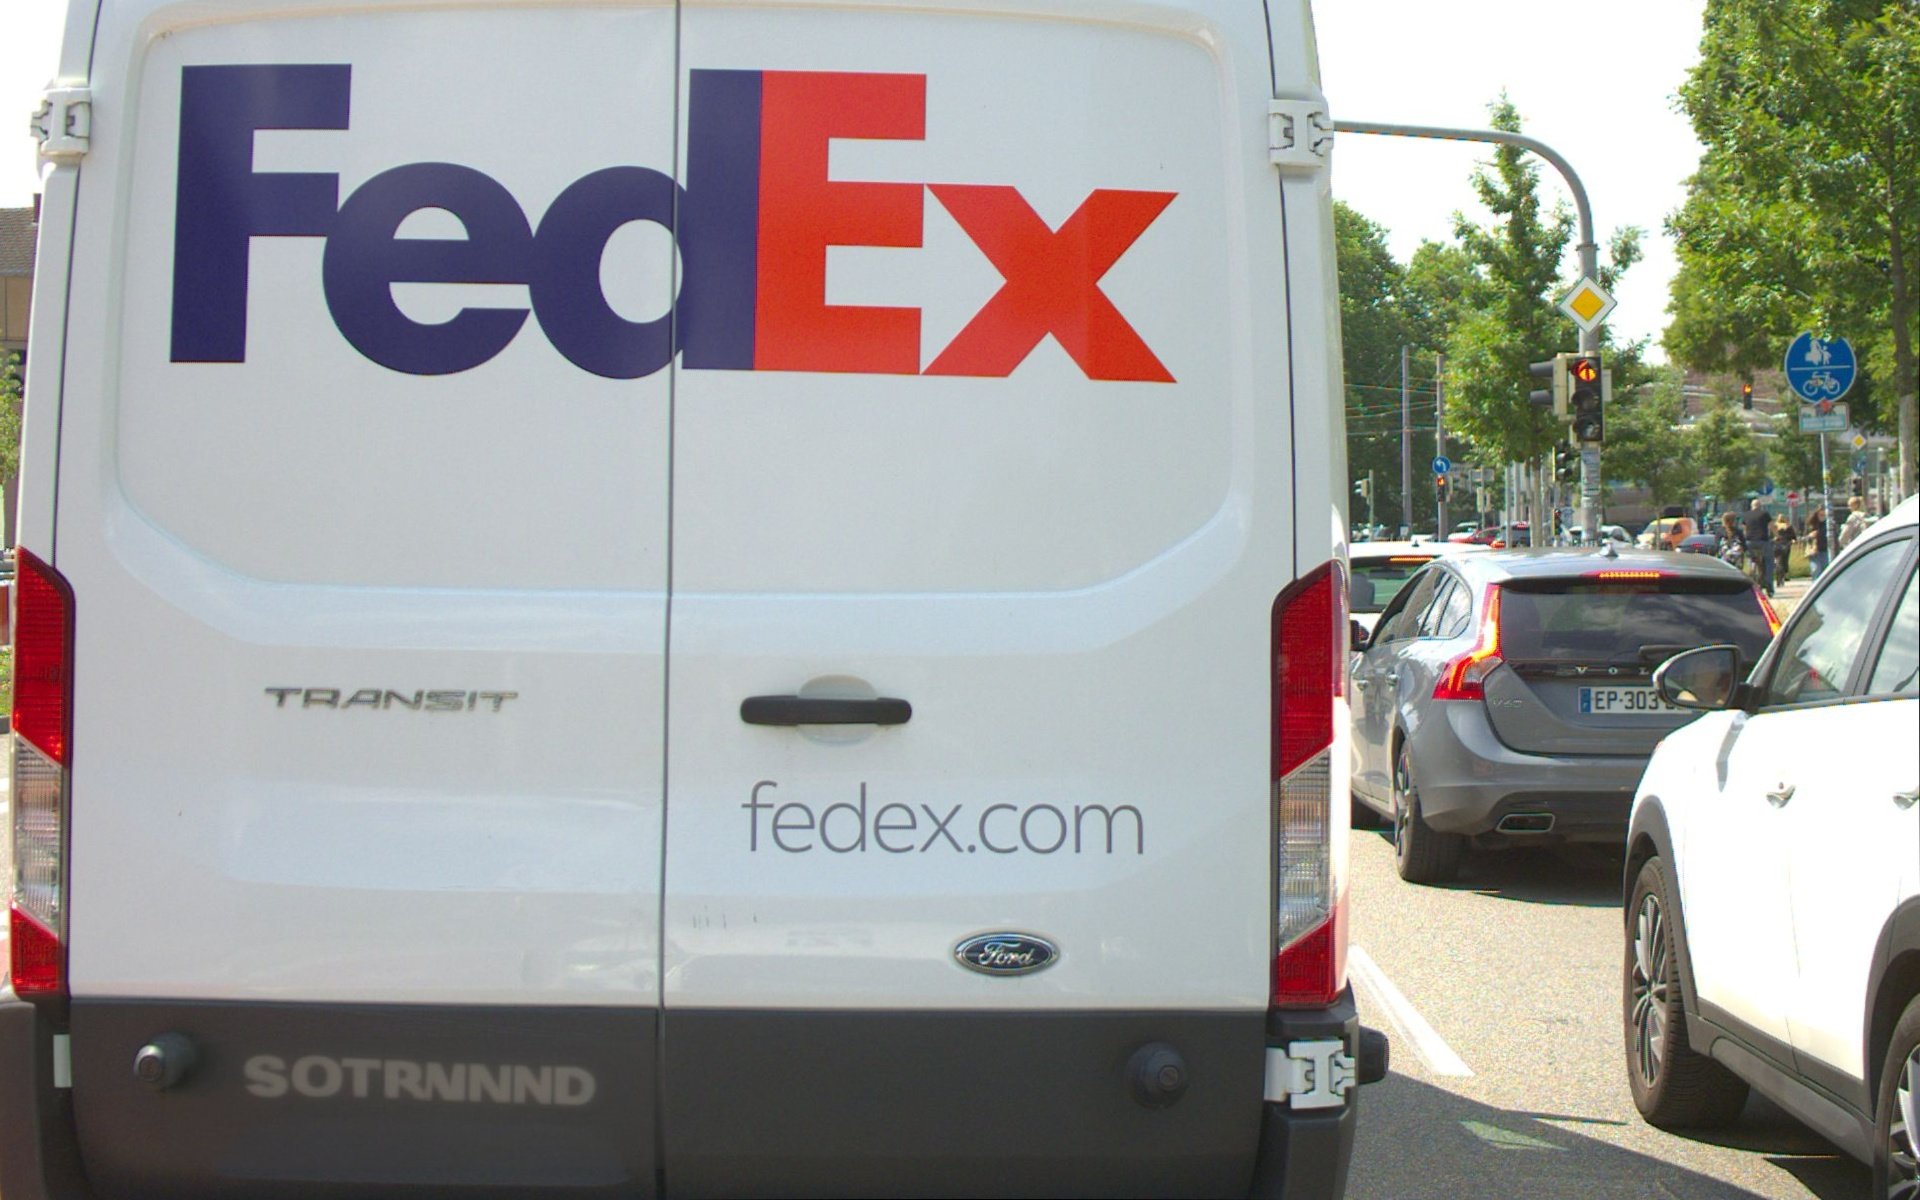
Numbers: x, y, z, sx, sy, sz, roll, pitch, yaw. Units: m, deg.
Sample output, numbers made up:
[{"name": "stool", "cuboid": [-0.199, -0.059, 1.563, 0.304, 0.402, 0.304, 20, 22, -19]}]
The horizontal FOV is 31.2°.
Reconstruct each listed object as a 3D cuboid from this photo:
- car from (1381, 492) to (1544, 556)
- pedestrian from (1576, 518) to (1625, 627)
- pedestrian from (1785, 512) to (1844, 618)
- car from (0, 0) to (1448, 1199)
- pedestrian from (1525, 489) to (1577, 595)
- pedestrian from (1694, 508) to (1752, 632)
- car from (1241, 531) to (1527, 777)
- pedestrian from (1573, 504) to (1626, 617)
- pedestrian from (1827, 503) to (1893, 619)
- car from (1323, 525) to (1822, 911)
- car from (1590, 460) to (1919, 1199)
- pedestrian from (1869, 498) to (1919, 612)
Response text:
[{"name": "car", "cuboid": [22.400, -3.391, 153.503, 7.063, 2.708, 2.496, 1, 0, 5]}, {"name": "pedestrian", "cuboid": [11.006, -0.481, 59.051, 0.759, 1.843, 0.816, 0, 1, 15]}, {"name": "pedestrian", "cuboid": [13.439, -0.561, 54.078, 0.759, 1.649, 0.816, -1, 1, 3]}, {"name": "car", "cuboid": [-0.356, 0.079, 6.793, 2.072, 2.572, 4.428, -1, 1, 1]}, {"name": "pedestrian", "cuboid": [10.293, -1.014, 59.898, 0.813, 1.843, 0.761, 0, 1, 3]}, {"name": "pedestrian", "cuboid": [11.441, -0.454, 51.513, 0.759, 1.843, 0.815, 0, 1, 18]}, {"name": "car", "cuboid": [2.715, 0.292, 22.602, 1.499, 1.459, 3.474, -1, 1, 1]}, {"name": "pedestrian", "cuboid": [10.549, -0.659, 56.692, 0.759, 1.843, 0.815, 0, 1, 18]}, {"name": "pedestrian", "cuboid": [14.508, -0.630, 55.429, 0.758, 1.843, 0.816, -1, 1, -10]}, {"name": "car", "cuboid": [2.690, 0.441, 15.859, 1.691, 1.543, 3.720, -1, 1, 1]}, {"name": "car", "cuboid": [2.569, 0.555, 7.219, 1.814, 1.673, 3.974, -1, 1, 1]}, {"name": "pedestrian", "cuboid": [15.345, -0.743, 56.017, 0.758, 1.843, 0.816, -1, 1, -8]}]
